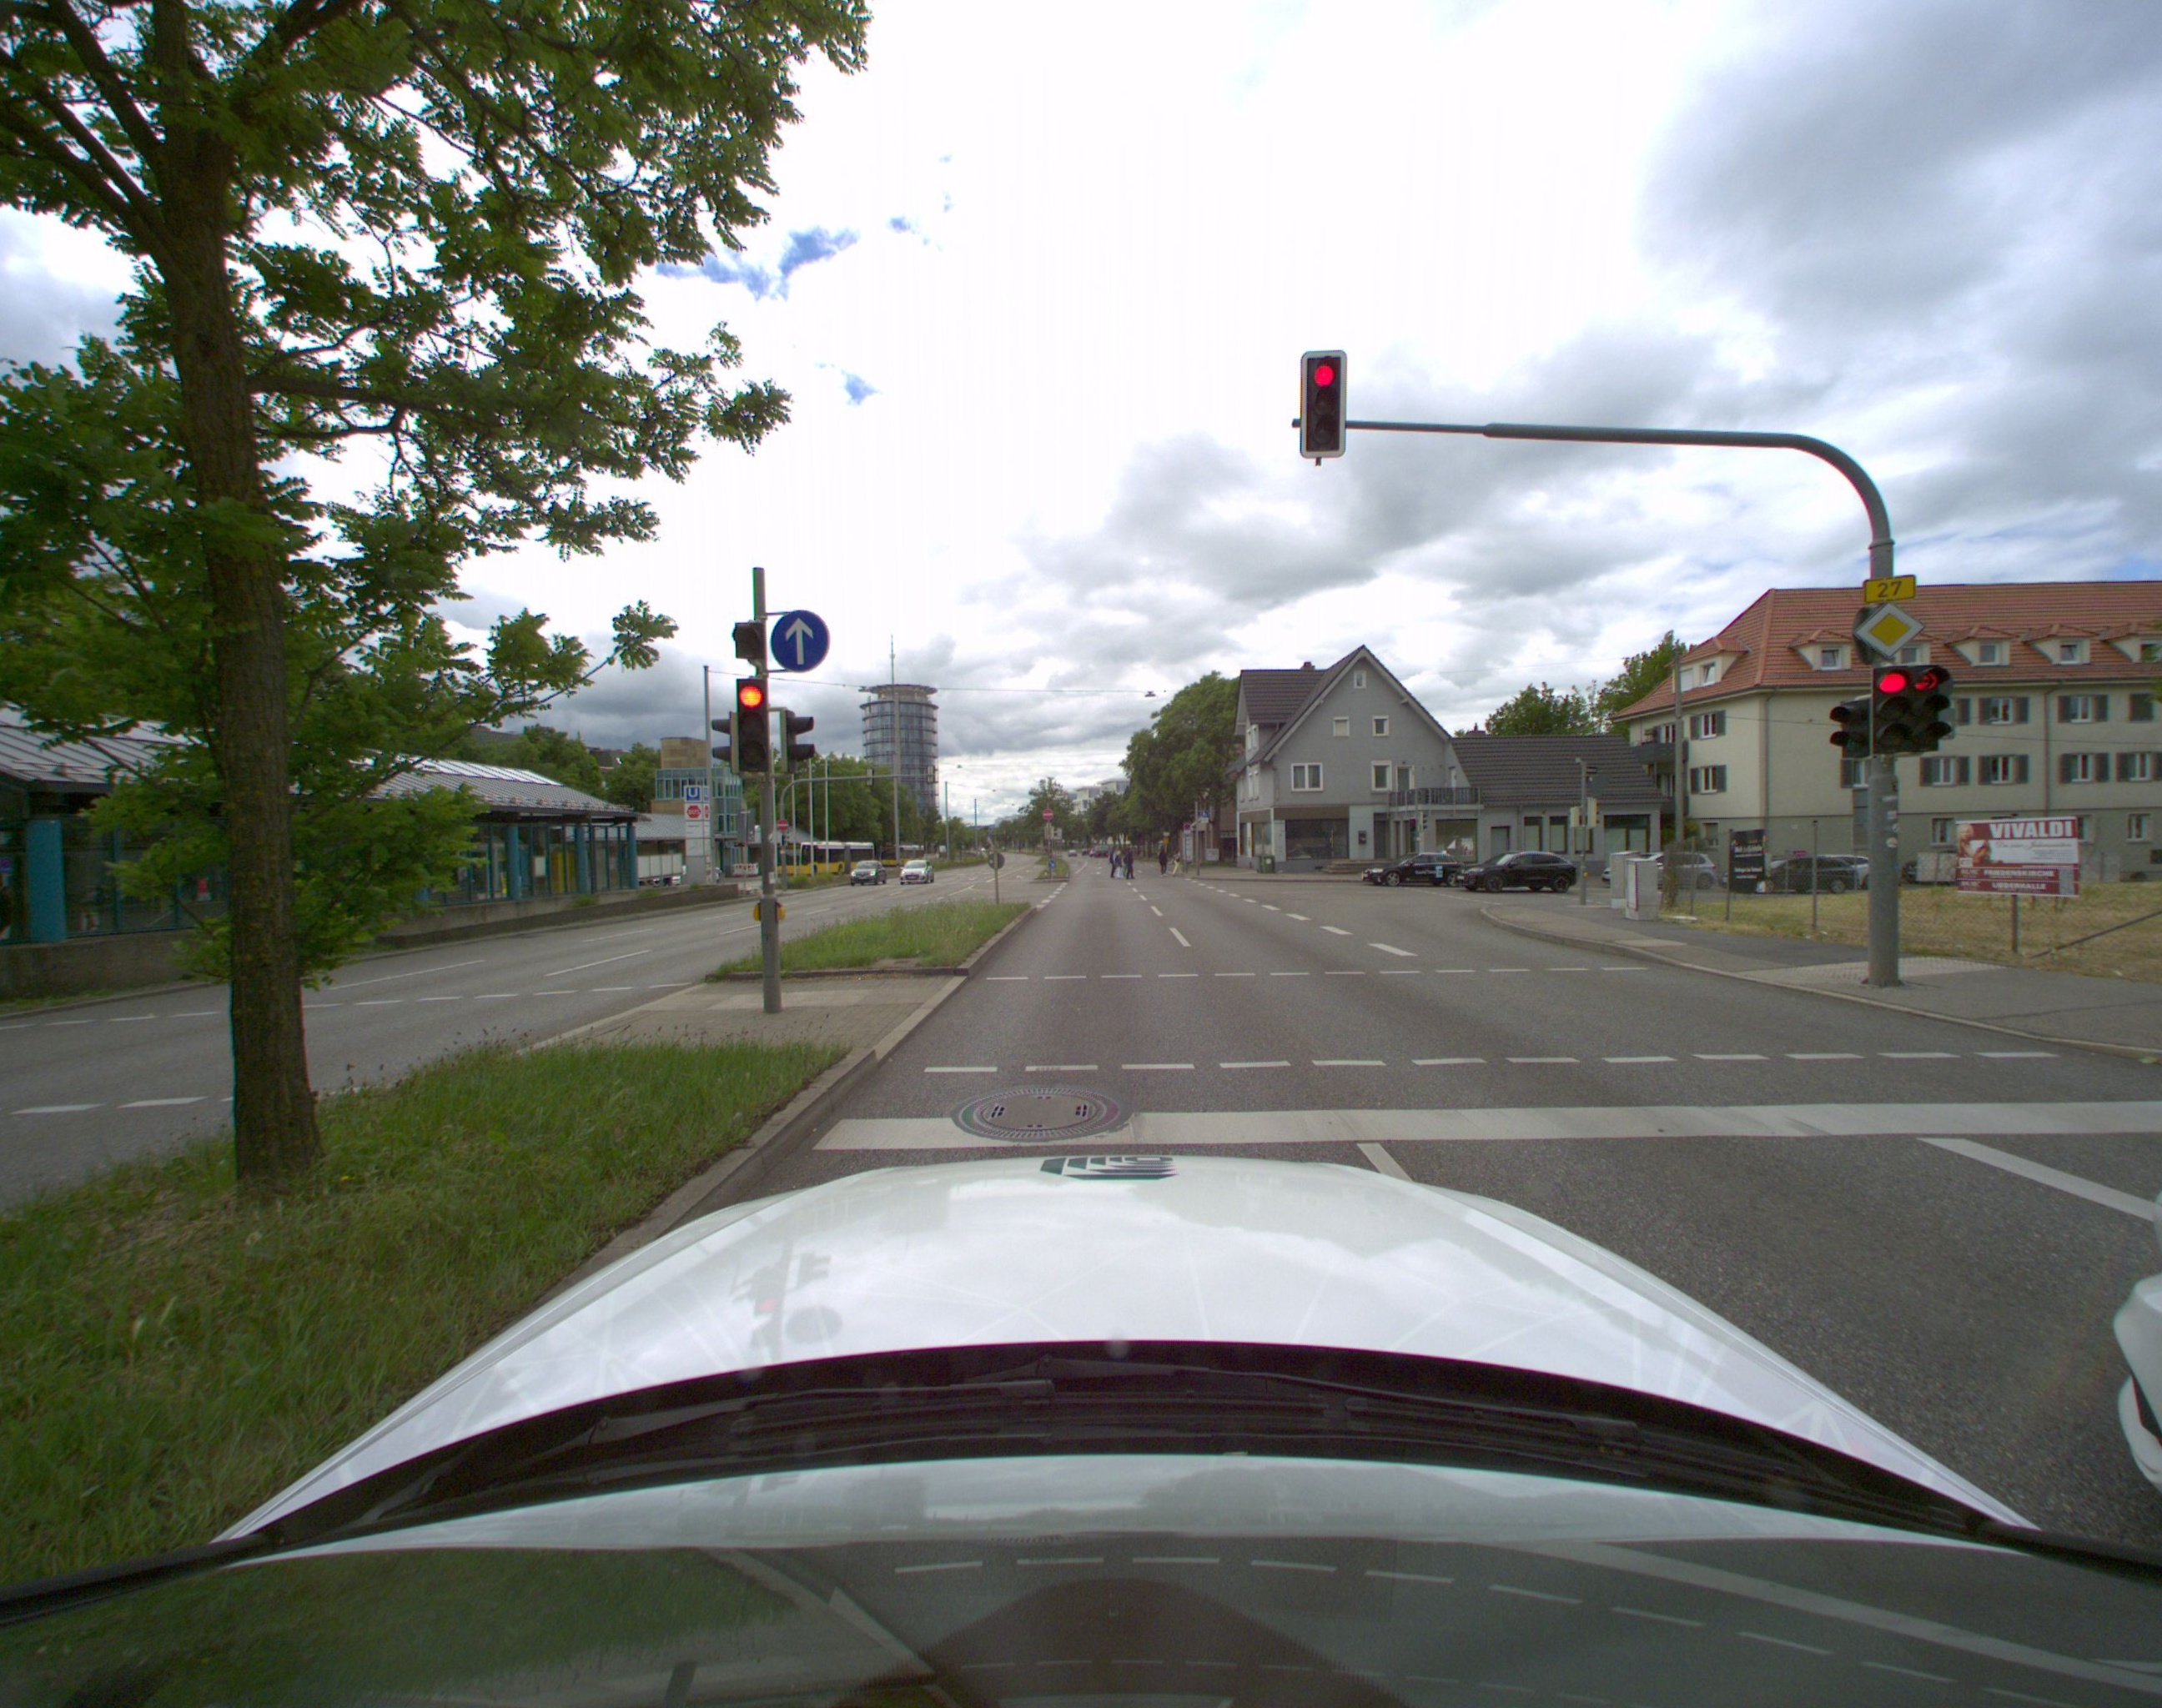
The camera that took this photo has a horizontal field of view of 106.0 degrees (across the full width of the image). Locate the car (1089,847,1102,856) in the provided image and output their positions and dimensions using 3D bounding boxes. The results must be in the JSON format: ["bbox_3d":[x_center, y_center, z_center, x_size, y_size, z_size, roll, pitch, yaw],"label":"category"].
[{"bbox_3d":[2.734,-0.488,155.490,2.246,1.757,4.928,-2,0,-3],"label":"car"}]

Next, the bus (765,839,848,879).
[{"bbox_3d":[-24.323,0.411,72.867,2.975,3.250,10.186,-2,0,6],"label":"bus"}]

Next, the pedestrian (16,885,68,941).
[{"bbox_3d":[-29.984,1.684,23.505,0.632,1.571,0.661,0,-1,-2],"label":"pedestrian"}]

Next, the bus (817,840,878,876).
[{"bbox_3d":[-23.351,0.379,81.866,2.975,3.270,7.889,-2,0,6],"label":"bus"}]

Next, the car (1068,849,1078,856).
[{"bbox_3d":[-1.678,-0.342,169.768,1.963,1.420,4.017,-2,0,-3],"label":"car"}]

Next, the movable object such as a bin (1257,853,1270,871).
[{"bbox_3d":[10.038,0.451,44.747,0.527,0.979,0.737,-2,0,2],"label":"movable object such as a bin"}]

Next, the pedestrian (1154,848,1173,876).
[{"bbox_3d":[4.888,0.472,48.327,0.875,1.662,0.699,-2,0,-42],"label":"pedestrian"}]

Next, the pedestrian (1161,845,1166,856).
[{"bbox_3d":[12.284,-0.526,121.488,0.649,1.570,0.669,-2,0,-6],"label":"pedestrian"}]

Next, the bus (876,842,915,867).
[{"bbox_3d":[-26.094,0.109,115.316,3.135,3.225,10.282,-2,0,0],"label":"bus"}]

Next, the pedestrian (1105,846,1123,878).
[{"bbox_3d":[1.909,0.470,46.802,0.866,1.780,0.706,-2,0,-7],"label":"pedestrian"}]

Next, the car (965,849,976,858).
[{"bbox_3d":[-27.259,-0.154,201.216,1.958,2.014,4.001,0,-1,2],"label":"car"}]

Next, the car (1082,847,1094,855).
[{"bbox_3d":[1.408,-0.548,171.864,2.246,1.647,4.927,-2,0,-3],"label":"car"}]

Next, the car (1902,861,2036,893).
[{"bbox_3d":[39.812,1.023,36.577,3.972,1.377,1.871,0,0,2],"label":"car"}]

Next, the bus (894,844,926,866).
[{"bbox_3d":[-26.037,0.135,124.326,3.134,3.225,7.765,-2,0,0],"label":"bus"}]

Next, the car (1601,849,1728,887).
[{"bbox_3d":[24.568,0.561,34.392,4.087,1.540,1.828,0,0,0],"label":"car"}]

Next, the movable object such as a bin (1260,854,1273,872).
[{"bbox_3d":[10.032,0.480,43.956,0.527,0.979,0.737,-2,0,2],"label":"movable object such as a bin"}]

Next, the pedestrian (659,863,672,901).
[{"bbox_3d":[-17.576,1.190,34.439,0.420,1.591,0.353,-2,0,-28],"label":"pedestrian"}]

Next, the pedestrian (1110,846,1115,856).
[{"bbox_3d":[7.257,-0.653,186.437,0.930,2.308,1.008,0,-1,-8],"label":"pedestrian"}]

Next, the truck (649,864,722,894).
[{"bbox_3d":[-22.068,1.353,45.599,1.986,1.517,4.001,-2,0,1],"label":"truck"}]

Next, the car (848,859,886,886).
[{"bbox_3d":[-13.492,1.153,51.532,1.681,1.578,3.344,-2,0,-4],"label":"car"}]

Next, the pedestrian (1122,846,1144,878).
[{"bbox_3d":[2.849,0.441,44.944,1.048,1.760,0.706,-2,0,-8],"label":"pedestrian"}]

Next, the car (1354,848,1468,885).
[{"bbox_3d":[13.913,0.504,34.518,4.074,1.494,1.894,0,0,-2],"label":"car"}]

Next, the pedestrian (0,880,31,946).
[{"bbox_3d":[-27.902,1.525,21.122,0.629,1.667,0.665,-1,-1,23],"label":"pedestrian"}]

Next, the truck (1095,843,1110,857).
[{"bbox_3d":[3.756,-0.675,143.296,2.246,2.416,4.928,-2,0,-3],"label":"truck"}]

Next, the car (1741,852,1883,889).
[{"bbox_3d":[31.201,0.698,34.874,4.224,1.477,2.002,0,-1,3],"label":"car"}]

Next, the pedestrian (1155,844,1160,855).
[{"bbox_3d":[11.380,-0.656,121.503,0.649,1.570,0.669,-2,0,-6],"label":"pedestrian"}]

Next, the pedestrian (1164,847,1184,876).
[{"bbox_3d":[5.455,0.427,47.559,0.874,1.662,0.700,-2,0,-35],"label":"pedestrian"}]

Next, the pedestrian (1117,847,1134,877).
[{"bbox_3d":[2.682,0.492,48.831,0.866,1.780,0.706,-2,0,-7],"label":"pedestrian"}]

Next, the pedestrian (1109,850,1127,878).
[{"bbox_3d":[2.094,0.562,45.919,0.866,1.507,0.706,-2,0,-7],"label":"pedestrian"}]

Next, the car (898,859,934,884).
[{"bbox_3d":[-10.339,1.061,51.321,1.680,1.462,3.552,-2,0,-3],"label":"car"}]

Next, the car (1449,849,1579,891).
[{"bbox_3d":[16.529,0.602,31.184,4.051,1.521,1.838,1,0,-5],"label":"car"}]
